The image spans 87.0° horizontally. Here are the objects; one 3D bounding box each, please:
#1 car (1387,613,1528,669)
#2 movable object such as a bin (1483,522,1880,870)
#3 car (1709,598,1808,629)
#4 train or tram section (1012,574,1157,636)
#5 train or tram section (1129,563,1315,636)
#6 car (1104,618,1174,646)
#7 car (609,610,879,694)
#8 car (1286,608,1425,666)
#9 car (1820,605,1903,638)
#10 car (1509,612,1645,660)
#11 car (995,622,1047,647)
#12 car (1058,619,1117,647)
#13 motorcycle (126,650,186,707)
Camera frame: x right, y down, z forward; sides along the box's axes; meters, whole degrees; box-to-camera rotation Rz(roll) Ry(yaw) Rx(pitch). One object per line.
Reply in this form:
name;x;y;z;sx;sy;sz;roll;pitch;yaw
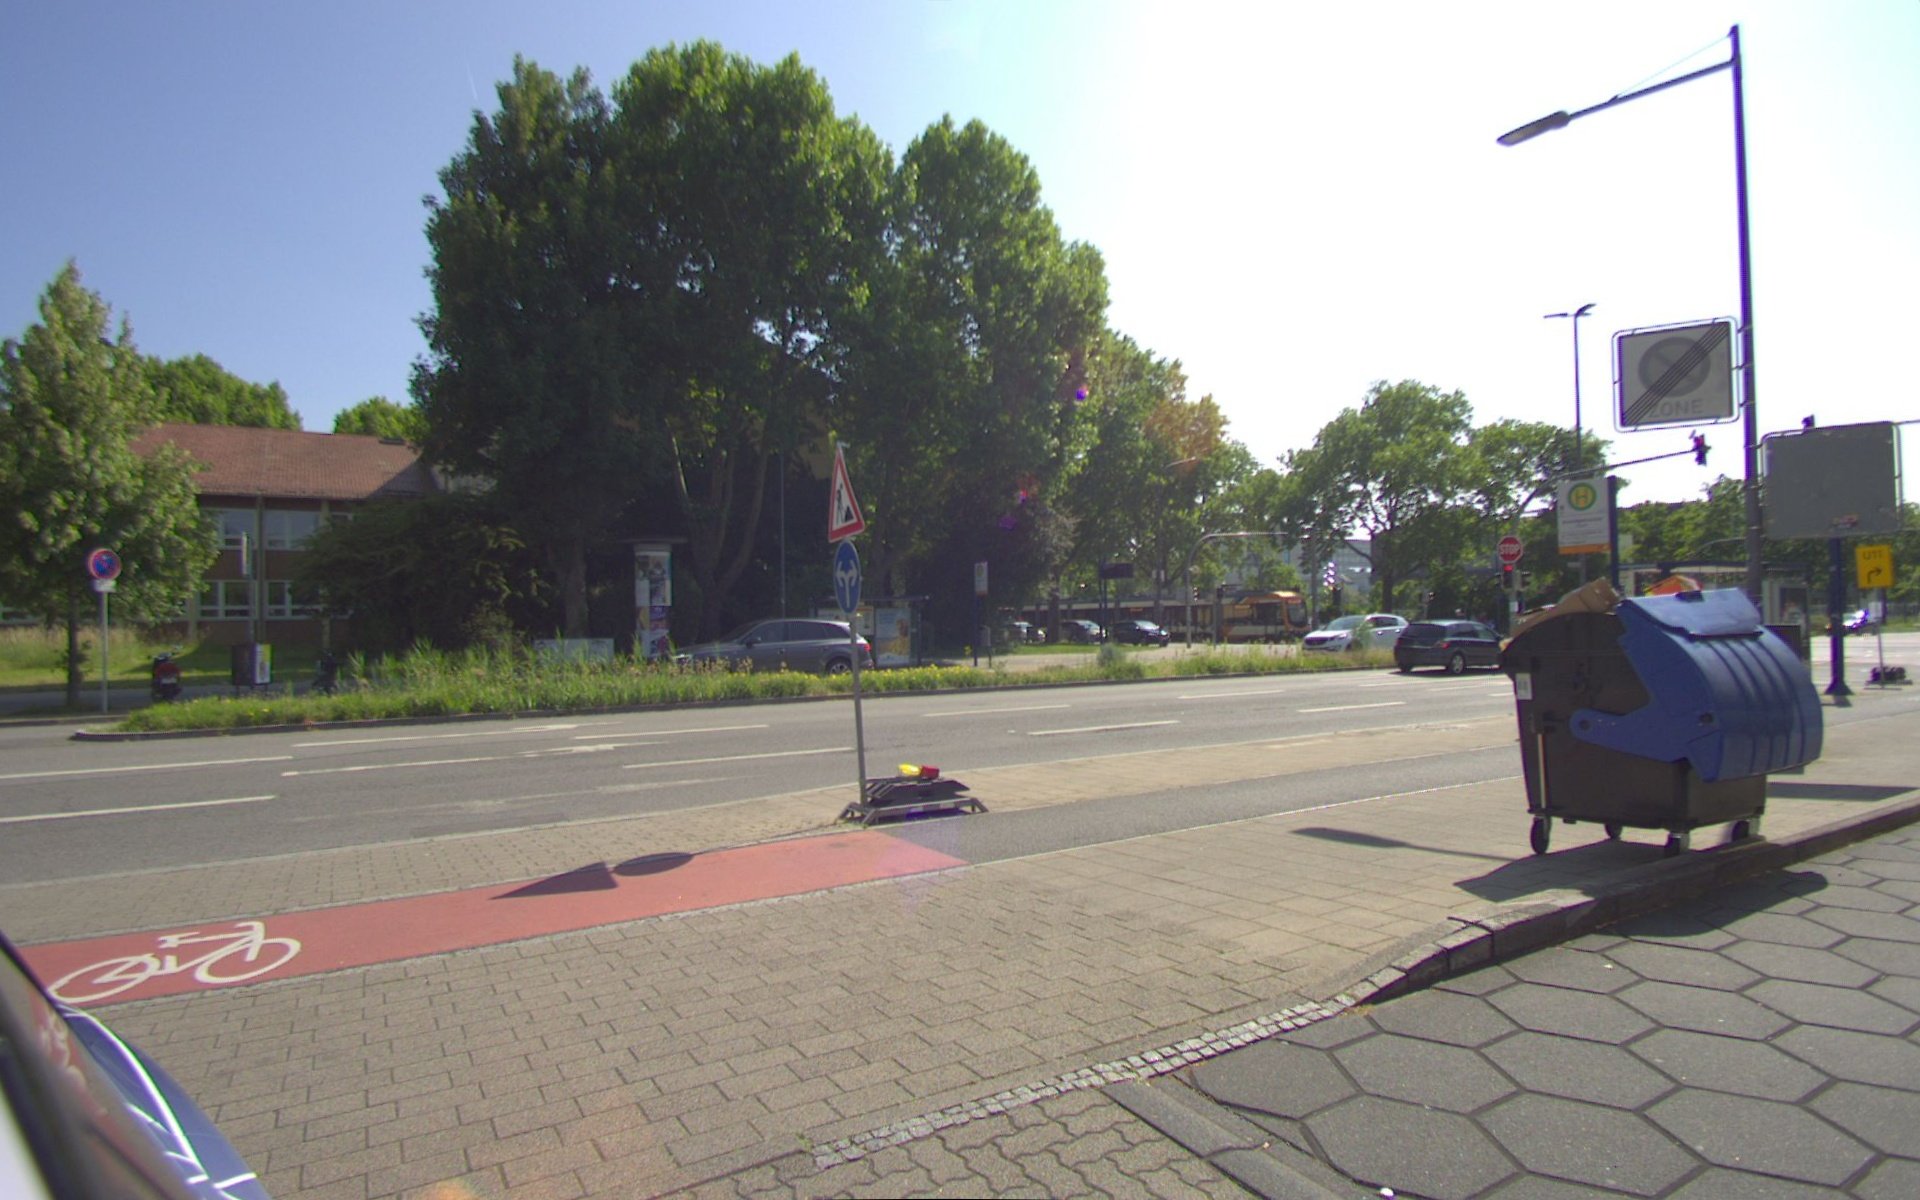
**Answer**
car;13.872;1.093;28.195;3.934;1.377;1.690;0;0;-31
movable object such as a bin;4.134;0.505;5.883;1.314;1.701;1.347;0;-4;-29
car;46.388;0.780;58.896;3.955;1.717;1.994;-1;-1;9
train or tram section;9.731;0.612;82.681;2.289;4.524;15.972;0;-2;-31
train or tram section;17.537;0.228;69.741;2.289;4.524;14.987;0;-2;-31
car;10.928;1.973;62.087;1.838;1.524;4.008;1;-4;-37
car;-4.784;1.140;22.803;5.562;1.623;2.006;-1;-4;-31
car;13.315;1.205;34.040;4.315;1.782;2.006;0;-1;-29
car;55.114;1.310;61.874;4.138;1.819;2.006;-1;-3;-21
car;24.361;1.402;40.015;4.318;1.782;2.005;-1;-1;-12
car;4.439;2.535;74.238;1.837;1.702;4.012;0;-4;-29
car;8.481;2.239;67.724;1.837;1.702;4.012;0;-4;-29
motorcycle;-16.839;1.616;21.192;1.755;1.122;0.550;-2;-2;36
